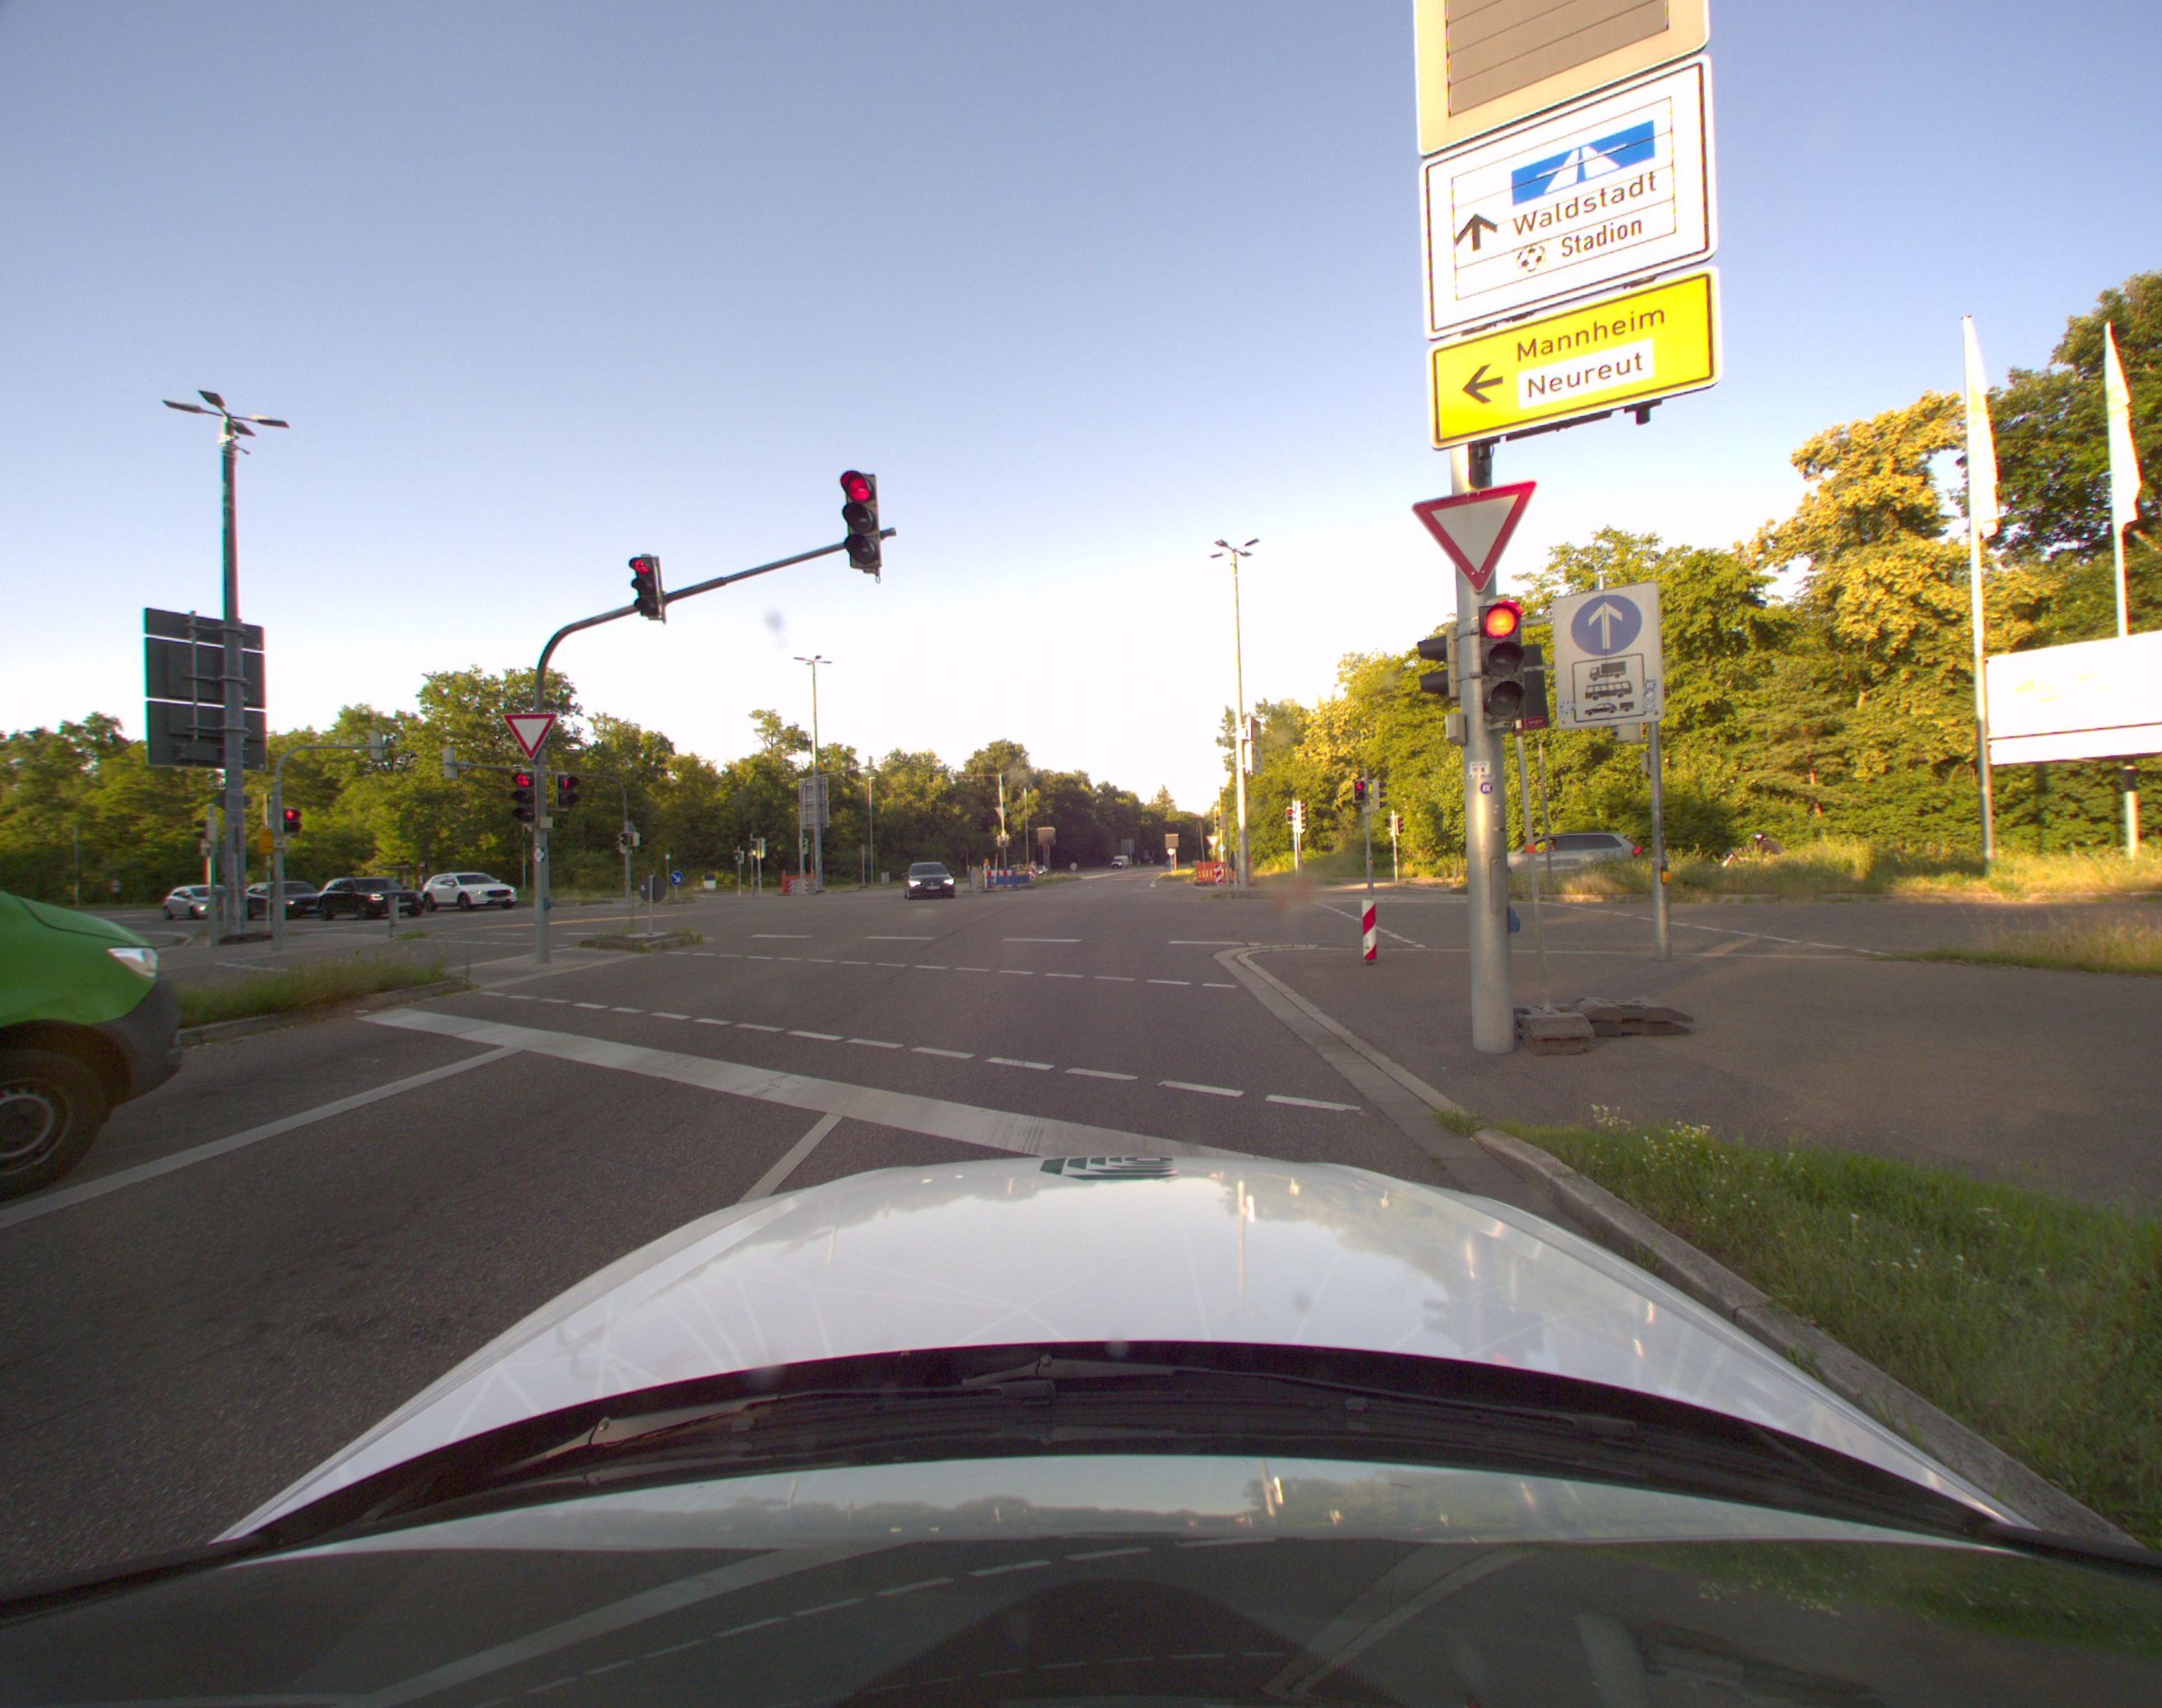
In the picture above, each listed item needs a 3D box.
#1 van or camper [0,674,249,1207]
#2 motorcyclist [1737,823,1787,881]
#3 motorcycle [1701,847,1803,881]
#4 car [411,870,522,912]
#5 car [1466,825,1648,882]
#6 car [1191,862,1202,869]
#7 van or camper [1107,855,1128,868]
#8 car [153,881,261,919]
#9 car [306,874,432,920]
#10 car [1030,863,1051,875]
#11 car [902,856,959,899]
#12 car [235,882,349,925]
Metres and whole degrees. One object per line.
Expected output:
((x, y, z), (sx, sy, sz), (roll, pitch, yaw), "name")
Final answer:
((-5.885, 0.407, 1.818), (1.988, 2.421, 5.893), (-2, 0, -1), "van or camper")
((19.249, -0.061, 23.038), (0.878, 1.595, 0.658), (-2, -1, 23), "motorcyclist")
((19.024, 0.287, 23.140), (2.125, 0.910, 0.666), (-2, 0, 23), "motorcycle")
((-26.766, 1.606, 35.484), (4.206, 1.640, 2.011), (-2, 0, 23), "car")
((15.025, 0.003, 26.066), (4.773, 1.598, 2.011), (-2, 0, 23), "car")
((26.212, 2.583, 184.732), (1.979, 1.618, 4.015), (-2, 0, 13), "car")
((7.706, 1.598, 171.168), (2.864, 2.652, 7.149), (-2, 0, 14), "van or camper")
((-41.264, 2.172, 38.460), (4.207, 1.640, 2.011), (-2, 0, 21), "car")
((-27.559, 1.666, 31.545), (4.206, 1.640, 2.011), (-2, 0, 23), "car")
((-4.884, 1.808, 98.927), (1.984, 1.420, 4.006), (-2, 0, 5), "car")
((-6.100, 0.908, 32.639), (1.996, 1.530, 4.656), (-2, 0, -13), "car")
((-33.931, 2.118, 35.019), (4.205, 1.640, 2.011), (-2, 0, 23), "car")
